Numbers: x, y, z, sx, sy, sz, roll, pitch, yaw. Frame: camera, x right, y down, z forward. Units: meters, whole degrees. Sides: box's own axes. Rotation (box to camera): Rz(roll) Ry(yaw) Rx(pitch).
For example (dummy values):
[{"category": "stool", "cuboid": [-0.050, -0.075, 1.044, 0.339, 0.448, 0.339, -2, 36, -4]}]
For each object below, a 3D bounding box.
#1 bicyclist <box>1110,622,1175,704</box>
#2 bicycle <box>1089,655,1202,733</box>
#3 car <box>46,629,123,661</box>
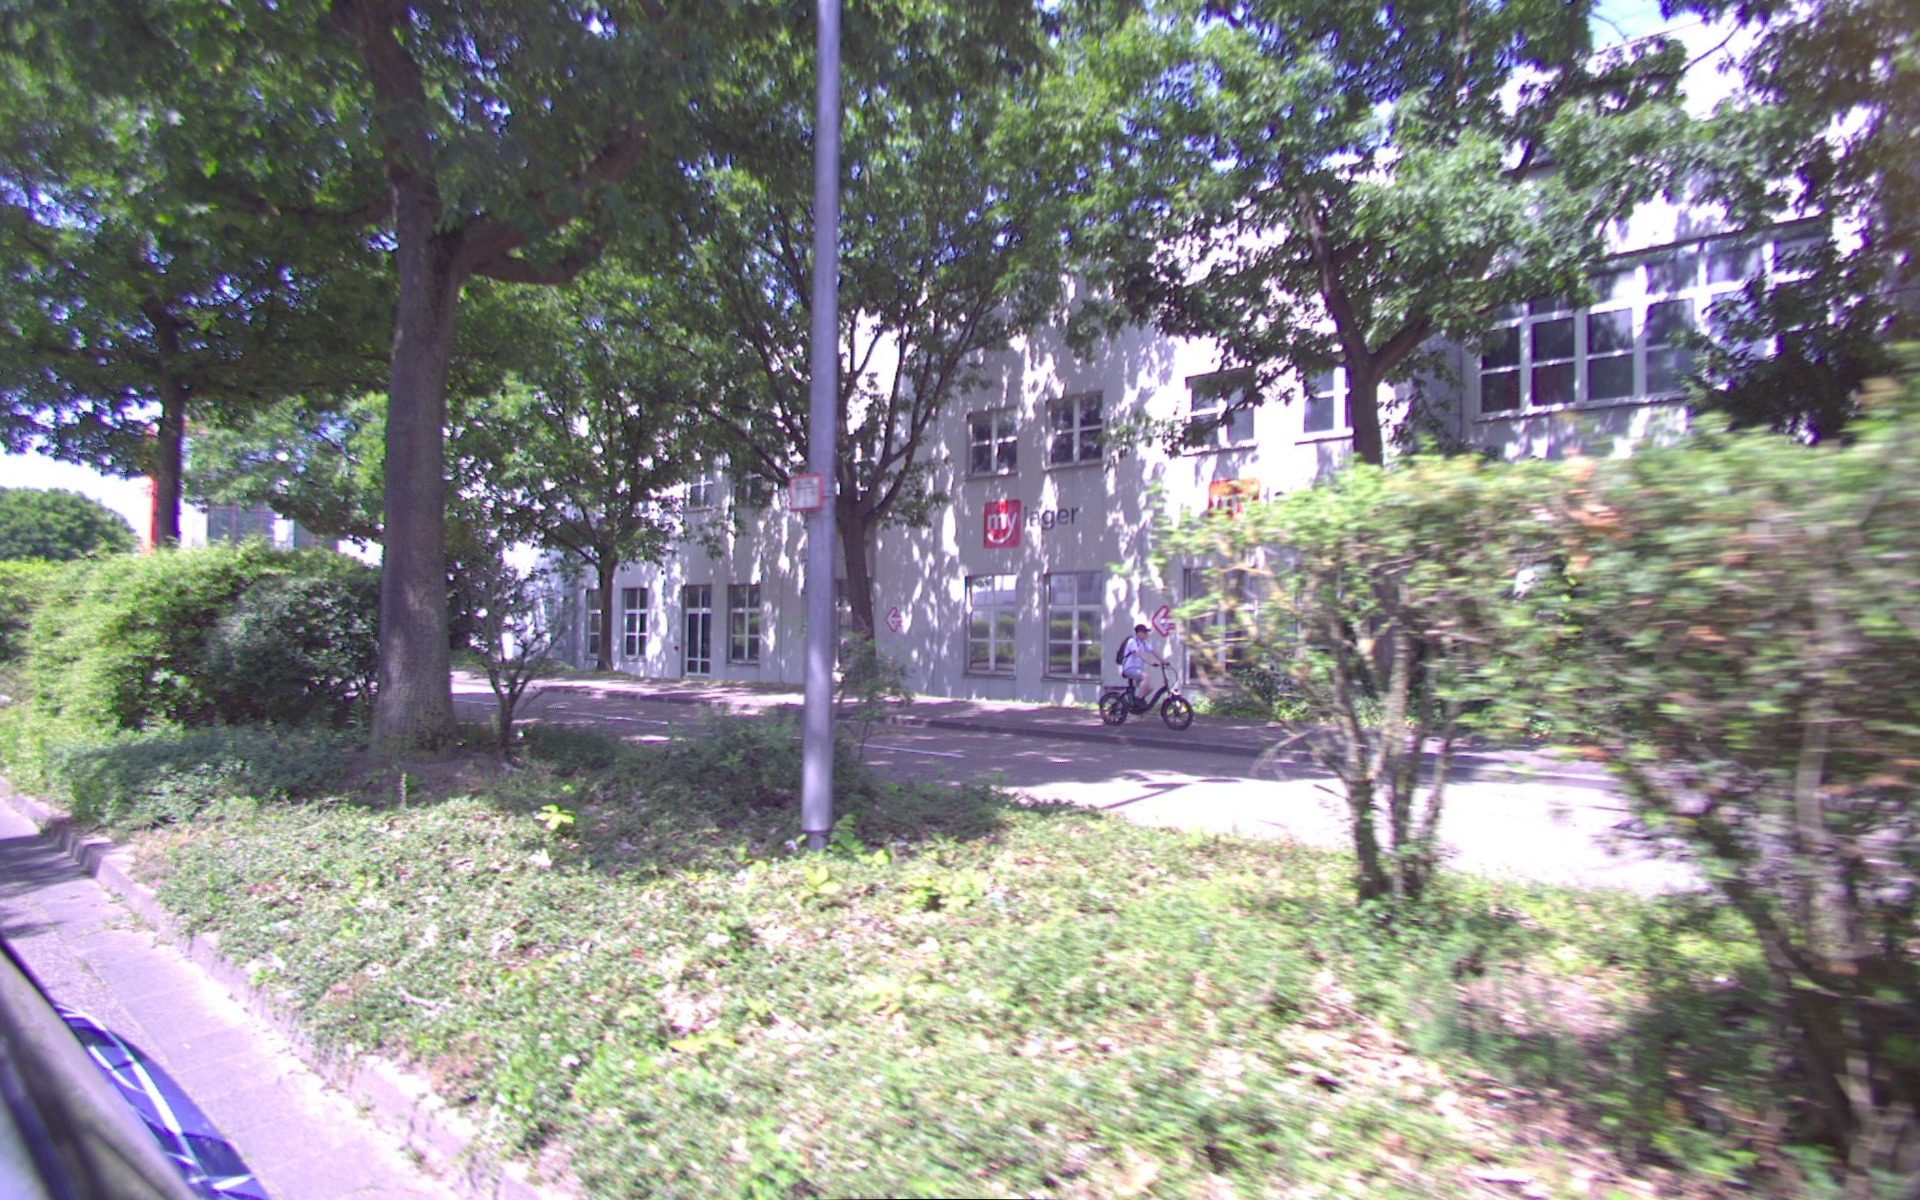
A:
[{"category": "bicyclist", "cuboid": [2.932, 0.992, 16.266, 0.812, 1.262, 0.637, 0, -1, 40]}, {"category": "bicycle", "cuboid": [2.959, 1.478, 16.241, 1.761, 1.128, 0.516, 0, -1, 41]}, {"category": "car", "cuboid": [-43.358, 2.214, 50.080, 5.237, 1.462, 2.105, -1, -3, 40]}]
